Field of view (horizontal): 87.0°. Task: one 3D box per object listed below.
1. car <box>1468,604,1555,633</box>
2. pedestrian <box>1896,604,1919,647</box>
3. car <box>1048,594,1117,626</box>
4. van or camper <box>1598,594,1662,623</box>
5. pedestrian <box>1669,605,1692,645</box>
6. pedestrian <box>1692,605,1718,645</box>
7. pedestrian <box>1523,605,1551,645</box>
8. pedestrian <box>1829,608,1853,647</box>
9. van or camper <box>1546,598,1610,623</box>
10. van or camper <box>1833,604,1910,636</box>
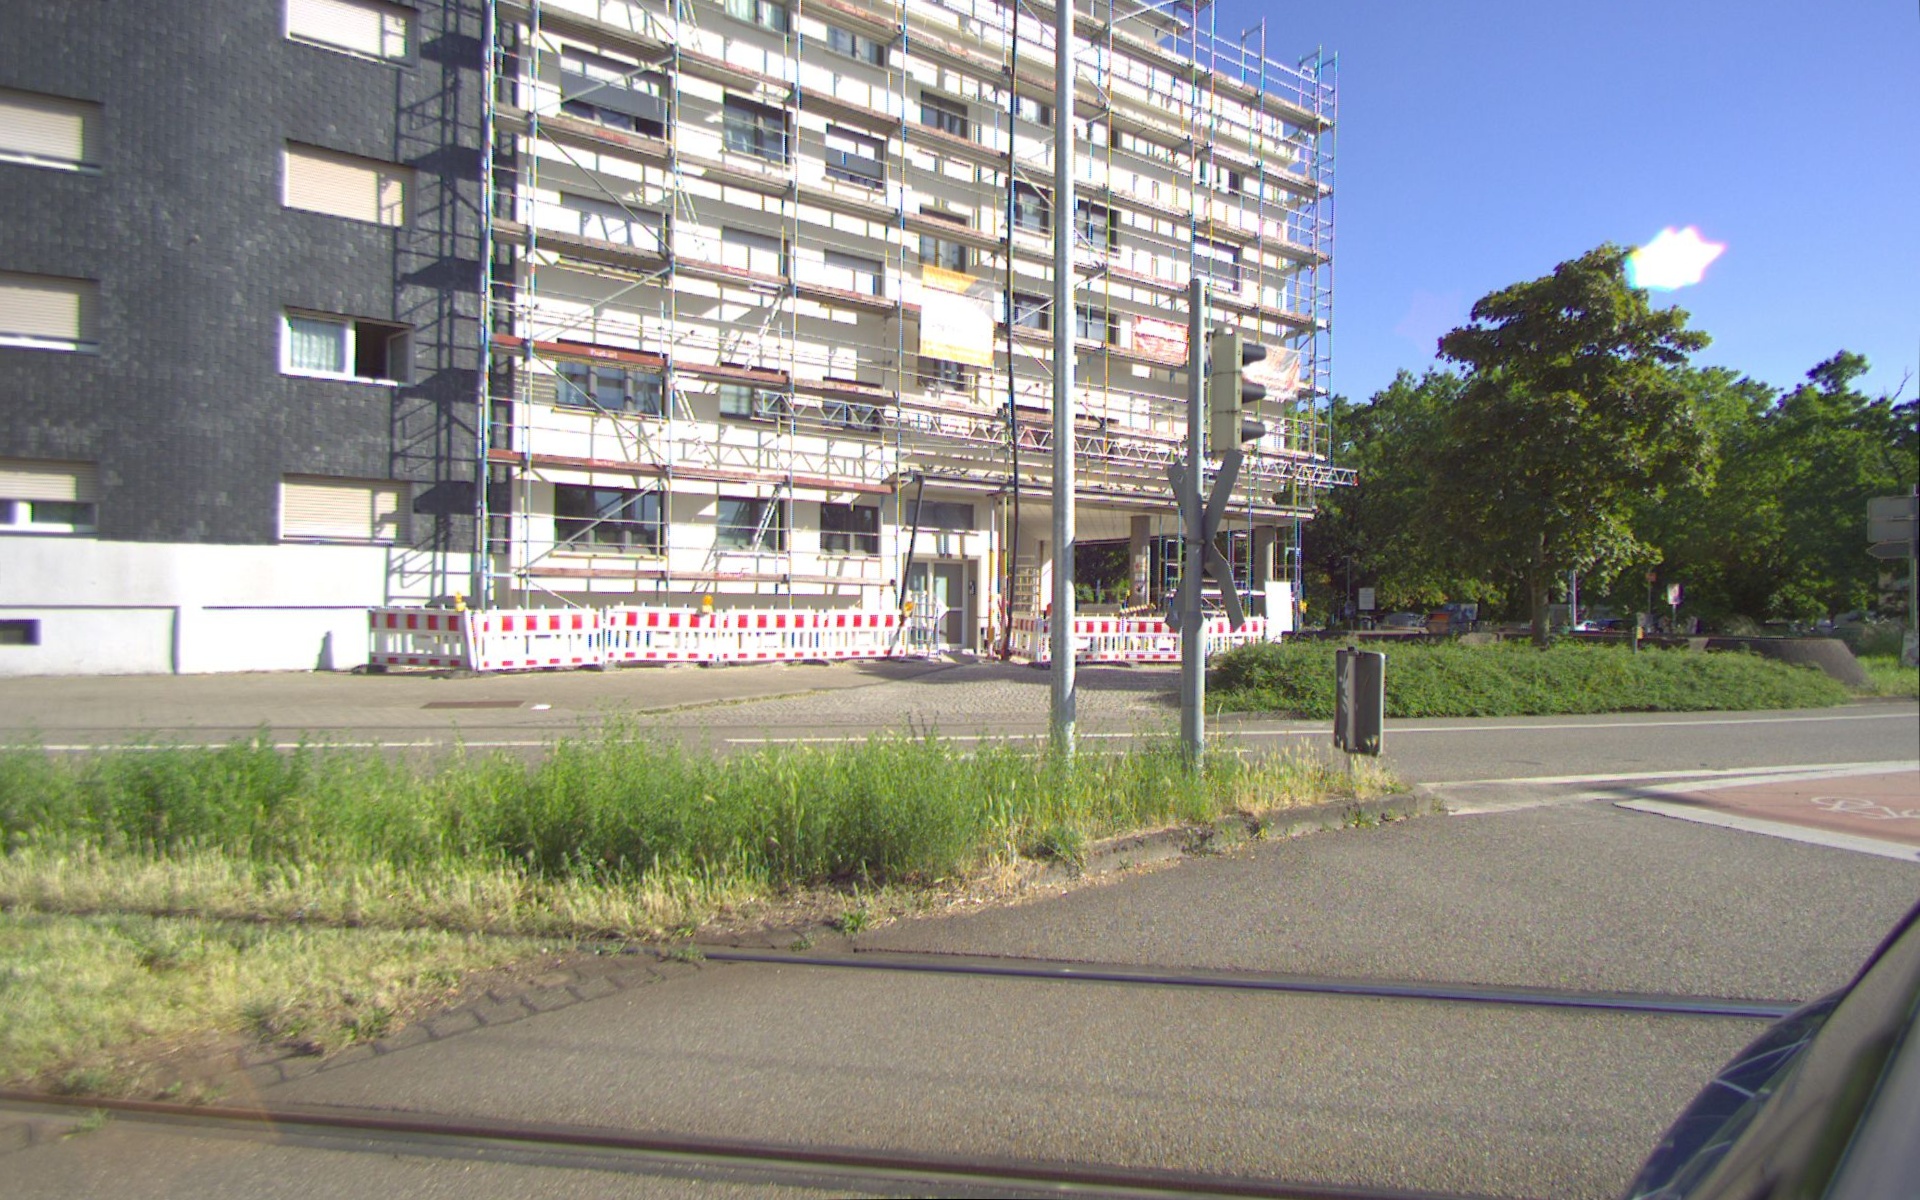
[{"bbox_3d":[28.443,0.936,52.255,1.593,1.331,3.587,-2,1,-35],"label":"car"},{"bbox_3d":[36.562,0.974,38.969,0.540,1.655,0.624,1,0,-29],"label":"pedestrian"},{"bbox_3d":[8.305,0.649,68.684,4.263,2.099,2.003,1,0,-27],"label":"car"},{"bbox_3d":[51.955,0.677,78.454,5.227,2.186,2.458,1,0,-36],"label":"van or camper"},{"bbox_3d":[30.483,1.054,42.825,0.556,1.640,0.599,0,-1,-35],"label":"pedestrian"},{"bbox_3d":[30.996,1.039,42.089,0.556,1.640,0.705,0,-1,-35],"label":"pedestrian"},{"bbox_3d":[22.314,0.955,39.156,0.892,1.516,0.651,1,-1,-38],"label":"pedestrian"},{"bbox_3d":[34.516,1.074,39.669,0.601,1.537,0.530,1,-1,-27],"label":"pedestrian"},{"bbox_3d":[49.796,0.855,81.539,5.225,1.937,2.459,1,0,-34],"label":"van or camper"},{"bbox_3d":[57.370,1.252,63.694,5.225,1.937,2.459,1,0,-34],"label":"van or camper"}]
